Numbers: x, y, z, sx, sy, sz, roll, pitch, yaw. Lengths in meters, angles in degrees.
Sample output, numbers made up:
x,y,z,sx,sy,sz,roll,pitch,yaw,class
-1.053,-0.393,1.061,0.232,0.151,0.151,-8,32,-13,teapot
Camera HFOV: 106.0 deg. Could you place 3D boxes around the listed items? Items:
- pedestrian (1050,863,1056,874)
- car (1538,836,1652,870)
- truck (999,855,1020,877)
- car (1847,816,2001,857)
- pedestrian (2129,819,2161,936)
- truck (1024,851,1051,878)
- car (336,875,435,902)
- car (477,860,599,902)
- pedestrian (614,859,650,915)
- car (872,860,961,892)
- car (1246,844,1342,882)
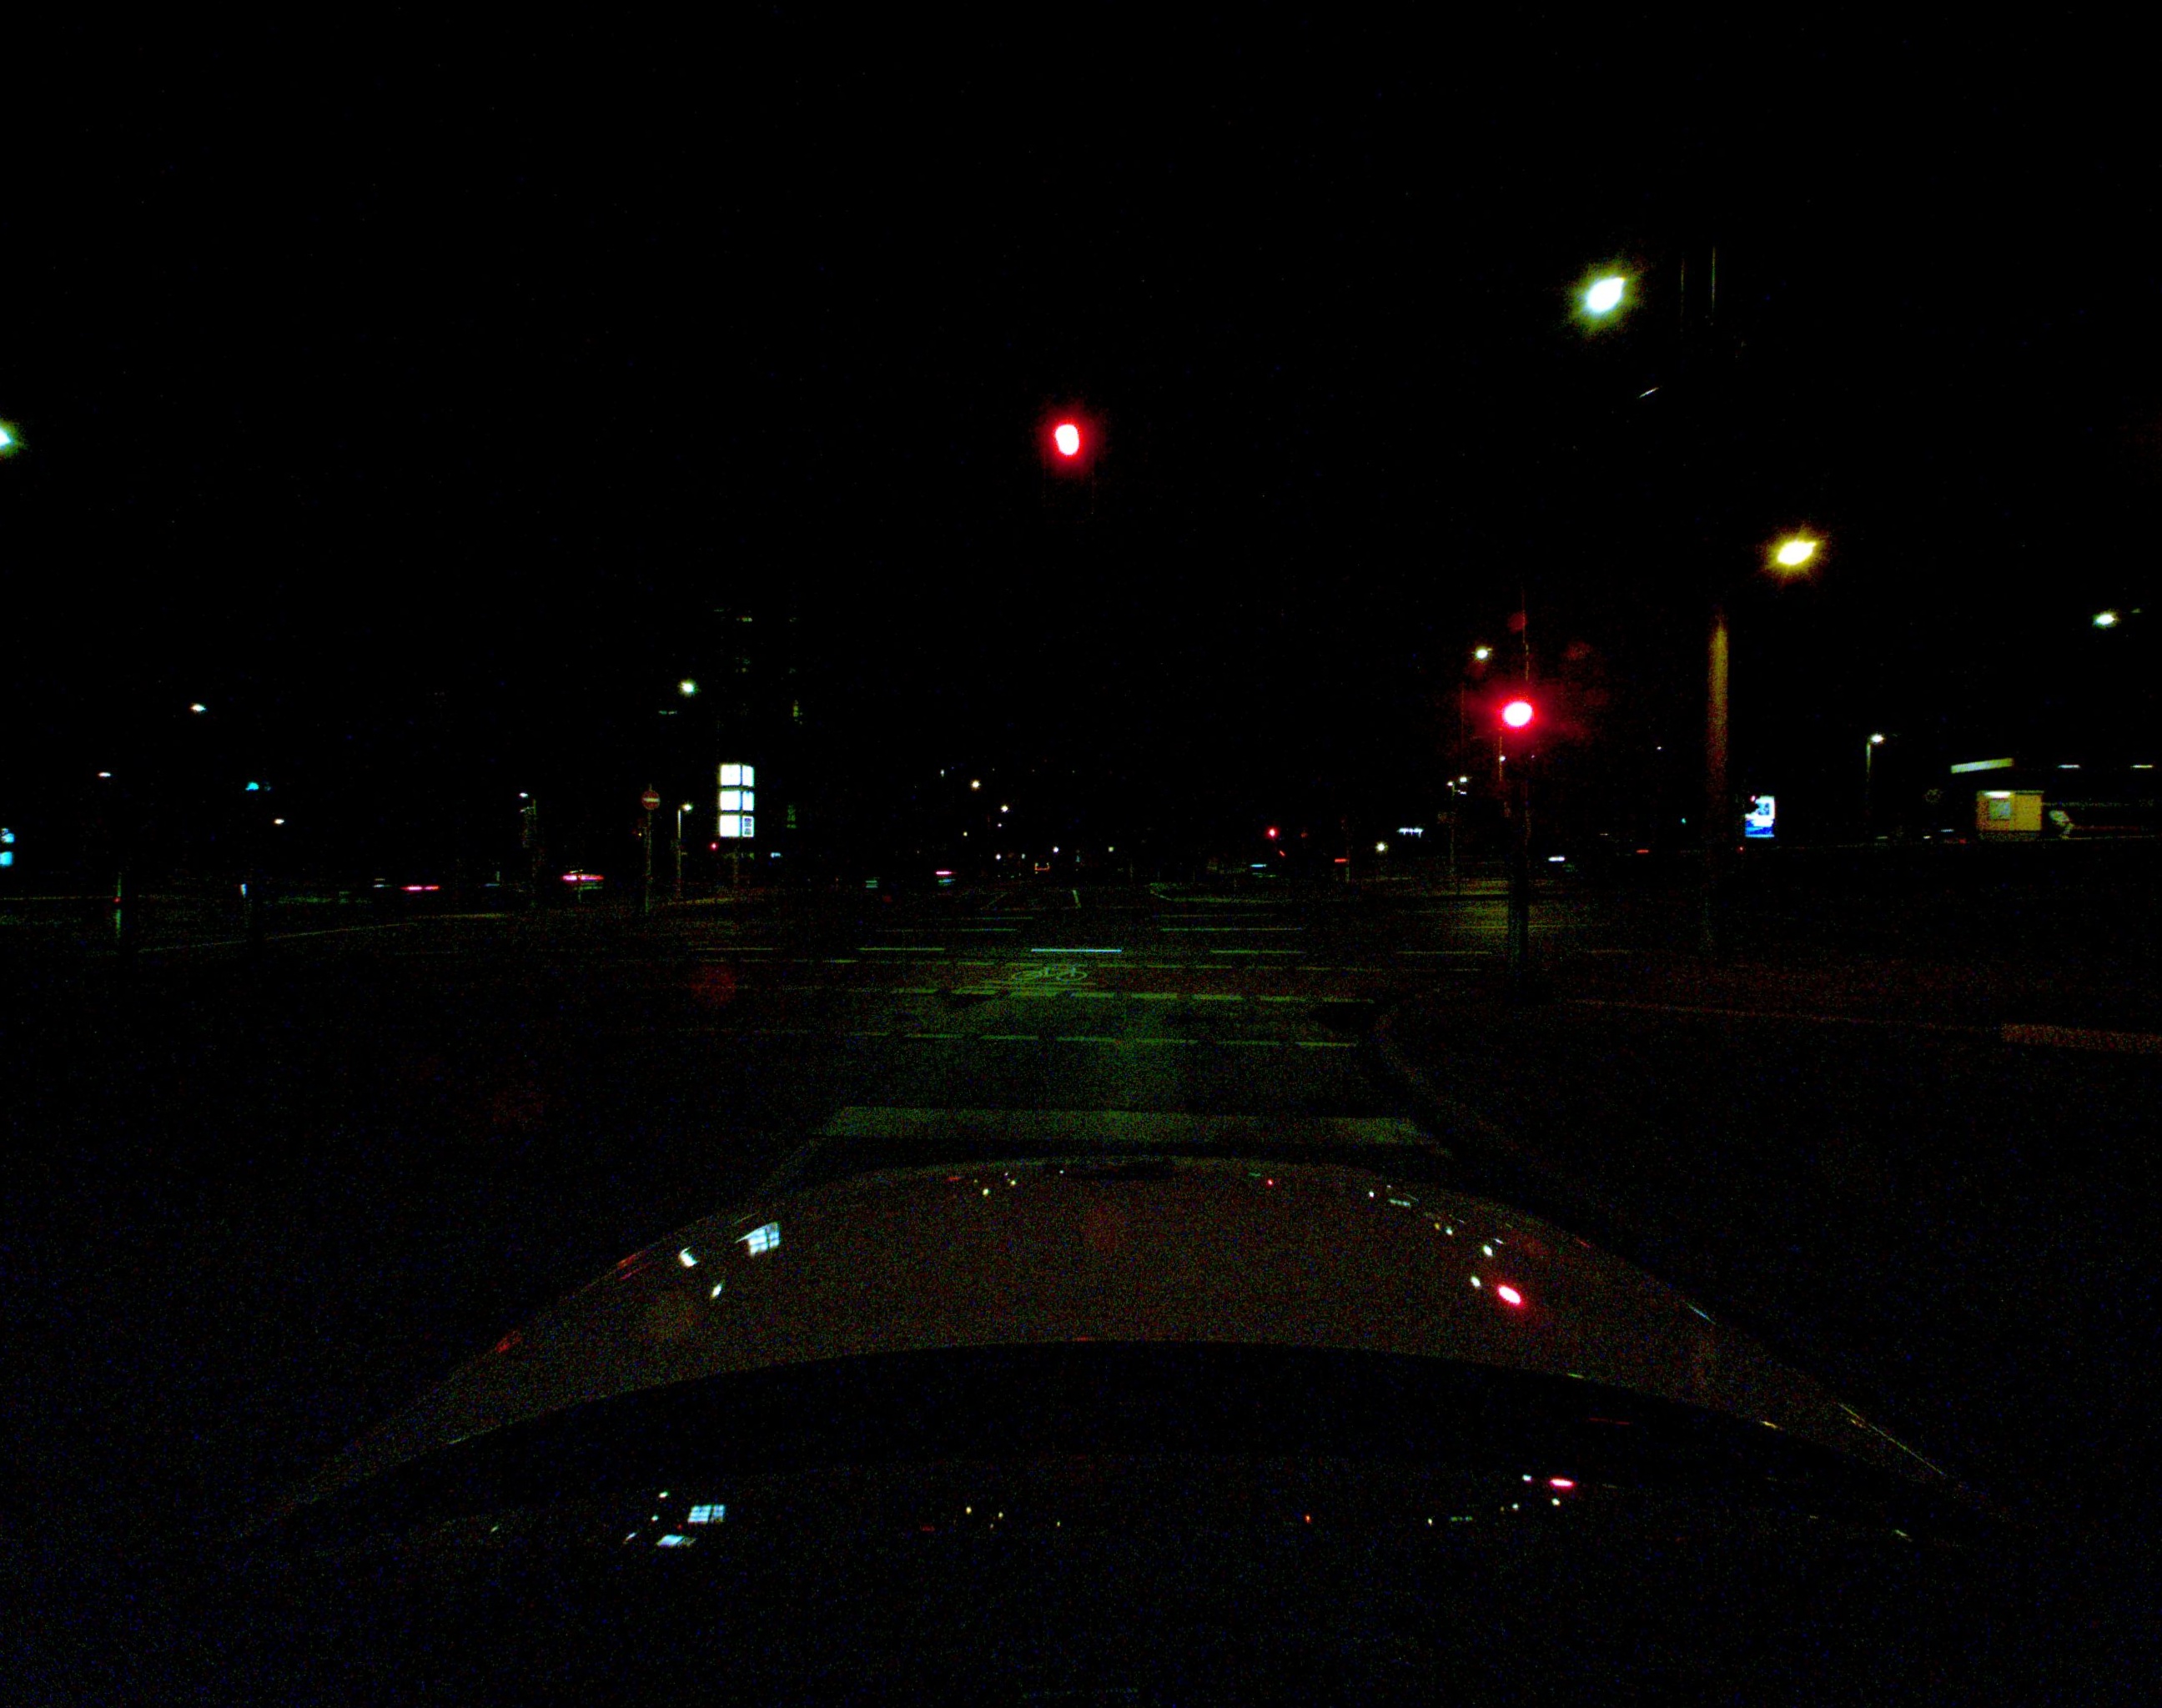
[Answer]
x,y,z,sx,sy,sz,roll,pitch,yaw,class
-5.018,2.667,147.932,0.851,1.912,1.001,0,-1,-16,pedestrian
24.283,-0.025,38.630,4.212,1.585,1.806,0,-1,6,car
-10.528,1.759,120.020,2.419,3.089,6.412,0,-1,-11,truck
35.999,-0.745,34.886,4.551,1.585,1.848,-2,1,3,car
15.856,0.305,11.583,0.870,1.656,0.843,-7,-5,42,pedestrian
-7.996,1.933,149.251,3.366,4.843,7.865,0,-1,-14,truck
-40.345,1.968,47.281,4.306,1.388,1.845,-2,-1,5,car
-26.432,1.285,39.712,4.757,1.844,1.845,-2,0,5,car
-14.067,1.033,25.540,0.670,1.722,0.710,-1,-2,28,pedestrian
-8.348,1.110,41.495,4.041,1.424,1.846,-1,1,5,car
9.563,0.394,36.793,3.965,1.585,1.807,-2,0,7,car
